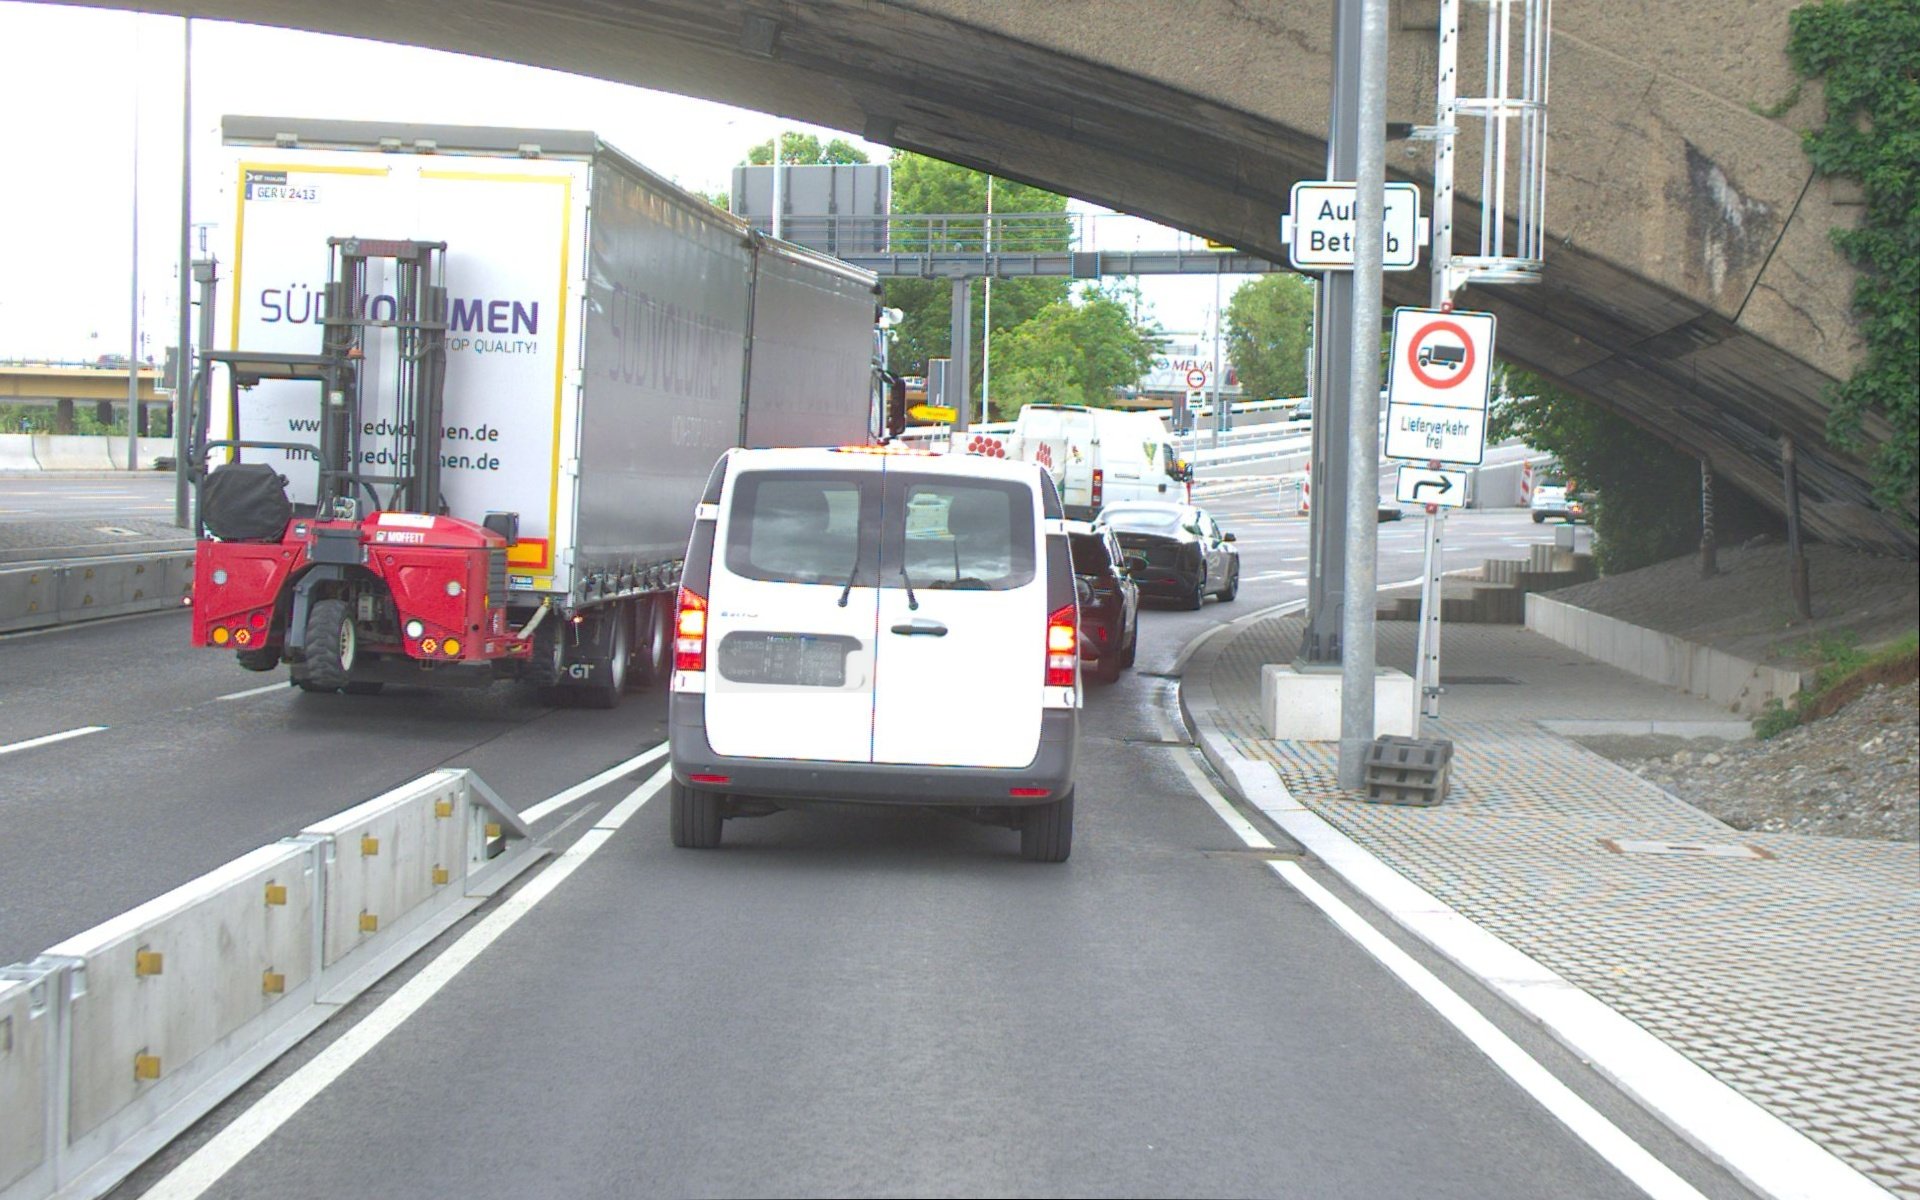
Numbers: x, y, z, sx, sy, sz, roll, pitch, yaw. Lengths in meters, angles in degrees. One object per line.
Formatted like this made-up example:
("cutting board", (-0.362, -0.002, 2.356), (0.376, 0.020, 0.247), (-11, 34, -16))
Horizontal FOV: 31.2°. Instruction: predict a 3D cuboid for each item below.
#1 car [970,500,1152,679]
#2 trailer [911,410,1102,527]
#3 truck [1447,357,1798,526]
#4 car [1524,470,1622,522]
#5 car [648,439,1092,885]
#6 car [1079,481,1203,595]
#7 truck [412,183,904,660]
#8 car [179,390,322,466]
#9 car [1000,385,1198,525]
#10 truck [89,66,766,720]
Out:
("car", (1.064, -0.155, 35.386), (1.749, 1.619, 3.845), (1, 3, 2))
("trailer", (0.894, -2.422, 63.297), (1.996, 1.950, 4.074), (5, 4, 23))
("truck", (17.292, -3.949, 88.096), (3.323, 3.796, 16.566), (5, 4, 30))
("car", (16.823, -2.858, 94.240), (1.375, 1.371, 3.455), (3, 3, 33))
("car", (-0.344, 0.210, 17.359), (1.876, 1.884, 4.753), (2, 1, 1))
("car", (2.543, -0.911, 48.941), (1.501, 1.464, 3.400), (2, 3, -1))
("truck", (-2.810, -1.678, 36.380), (2.988, 4.162, 11.238), (2, 1, 6))
("car", (-16.161, -3.930, 78.496), (1.699, 1.610, 3.995), (3, 4, 11))
("car", (2.783, -2.841, 67.485), (1.996, 2.532, 5.168), (5, 4, 23))
("truck", (-3.652, -1.382, 26.719), (2.918, 4.003, 10.199), (2, 1, 4))
